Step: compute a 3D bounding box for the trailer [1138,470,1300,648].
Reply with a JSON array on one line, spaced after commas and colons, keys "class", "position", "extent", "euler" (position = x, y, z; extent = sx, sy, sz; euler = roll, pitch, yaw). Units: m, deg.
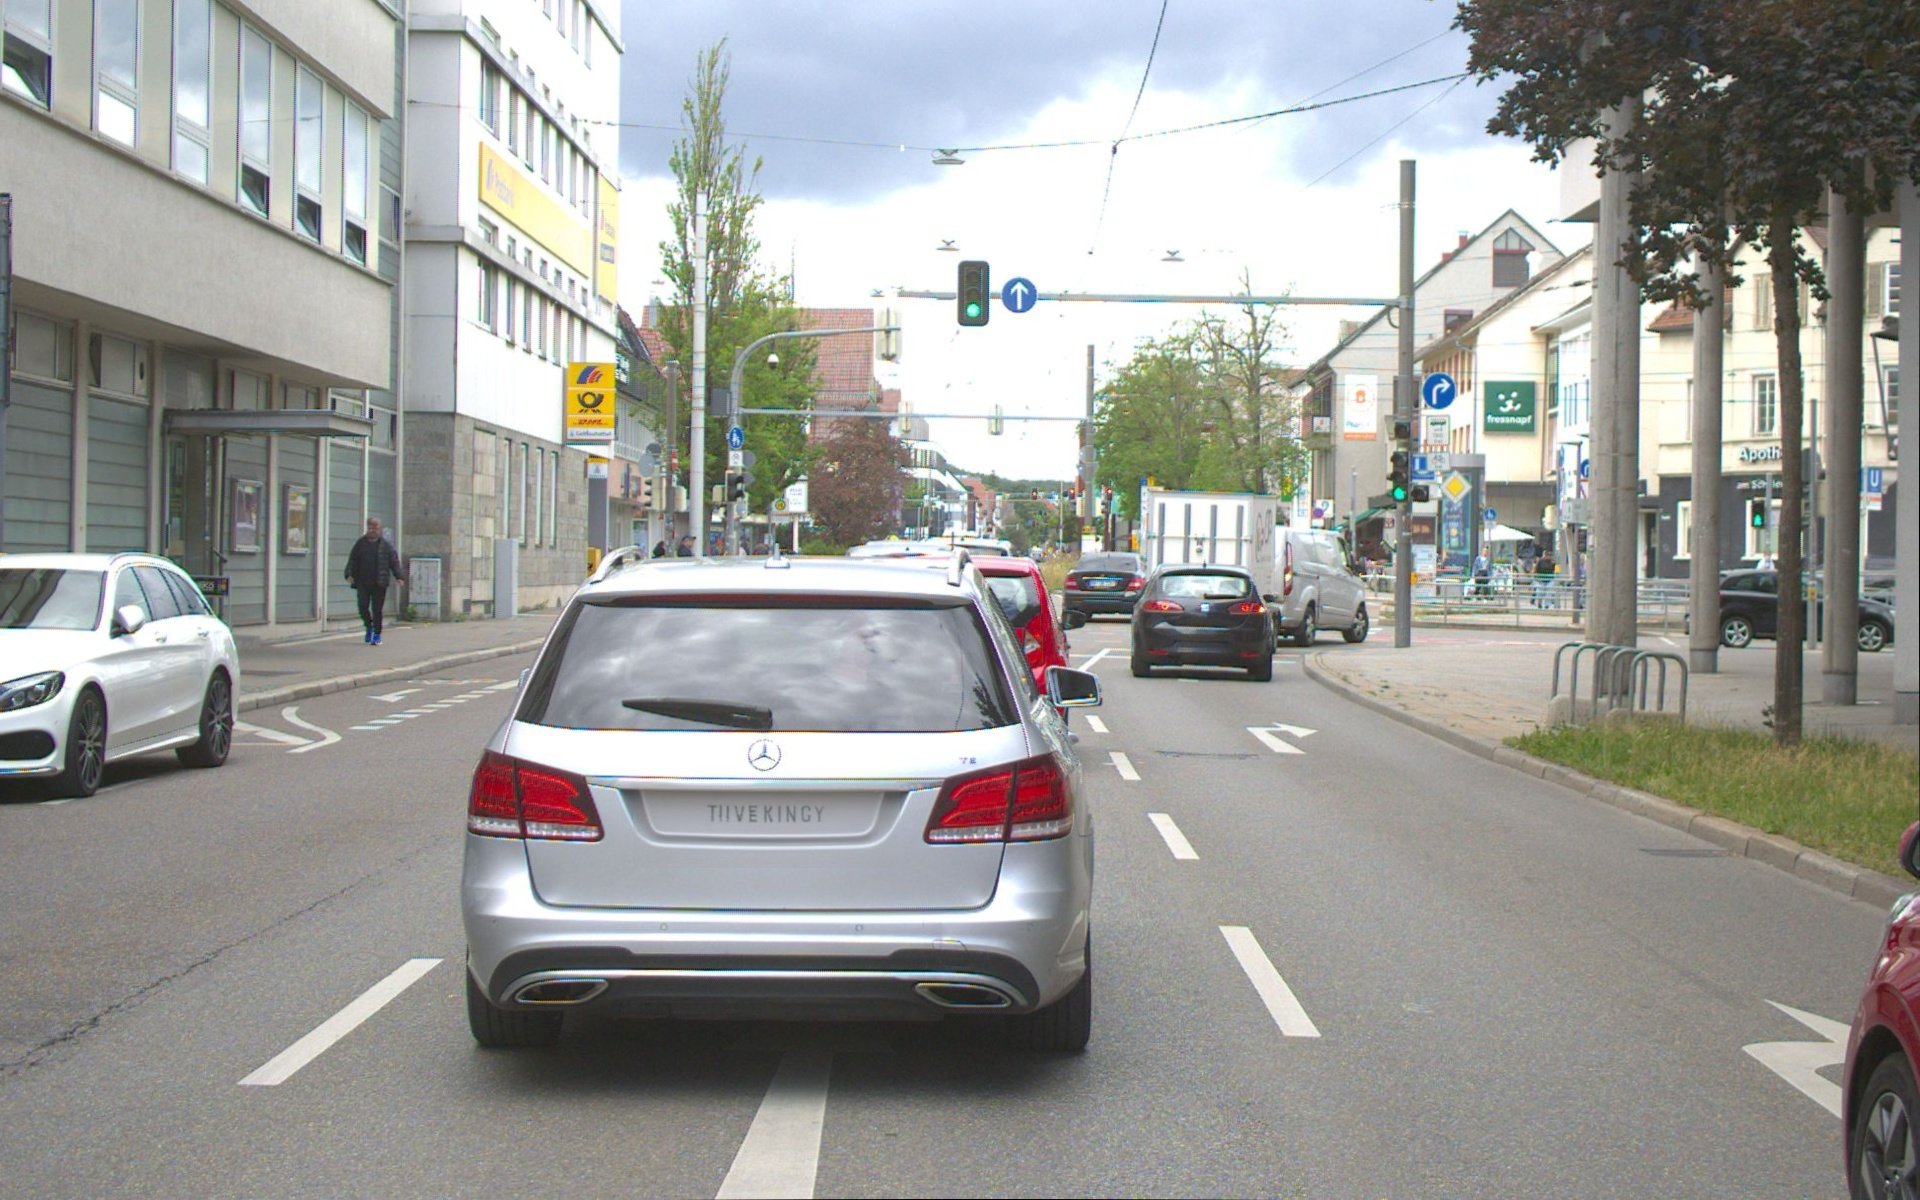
[{"class": "trailer", "position": [4.140, -0.642, 54.352], "extent": [1.879, 2.604, 4.321], "euler": [3, 1, 12]}]

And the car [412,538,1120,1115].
[{"class": "car", "position": [-0.554, 0.563, 11.131], "extent": [1.845, 1.503, 4.171], "euler": [1, 1, -1]}]

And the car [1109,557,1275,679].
[{"class": "car", "position": [2.891, 0.192, 43.561], "extent": [1.734, 1.406, 4.000], "euler": [1, 1, -1]}]

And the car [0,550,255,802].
[{"class": "car", "position": [-5.910, 0.411, 21.983], "extent": [1.670, 1.429, 4.552], "euler": [-1, 1, 3]}]

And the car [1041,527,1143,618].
[{"class": "car", "position": [2.648, -0.577, 69.747], "extent": [1.828, 1.779, 4.000], "euler": [1, 1, -1]}]

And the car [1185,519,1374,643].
[{"class": "car", "position": [5.522, -0.310, 58.834], "extent": [1.880, 1.939, 4.900], "euler": [4, 1, 21]}]

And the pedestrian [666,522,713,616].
[{"class": "pedestrian", "position": [-5.032, -0.585, 64.050], "extent": [0.648, 1.712, 0.782], "euler": [2, 1, 8]}]

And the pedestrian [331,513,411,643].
[{"class": "pedestrian", "position": [-7.996, -0.303, 46.728], "extent": [0.861, 1.712, 1.032], "euler": [2, 1, -1]}]

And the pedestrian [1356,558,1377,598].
[{"class": "pedestrian", "position": [14.964, -0.807, 126.566], "extent": [0.578, 1.464, 0.651], "euler": [2, 1, -6]}]

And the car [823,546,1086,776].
[{"class": "car", "position": [-0.014, 0.375, 24.927], "extent": [1.734, 1.503, 4.000], "euler": [1, 1, 1]}]

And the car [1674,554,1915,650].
[{"class": "car", "position": [15.052, 0.031, 62.106], "extent": [3.785, 1.664, 1.930], "euler": [1, 1, -6]}]

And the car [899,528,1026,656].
[{"class": "car", "position": [-0.001, -0.145, 49.523], "extent": [1.734, 1.753, 4.000], "euler": [1, 1, -1]}]

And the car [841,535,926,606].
[{"class": "car", "position": [-1.761, -0.710, 80.559], "extent": [1.776, 1.626, 4.768], "euler": [0, 1, 1]}]

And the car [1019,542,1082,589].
[{"class": "car", "position": [2.783, -1.080, 106.222], "extent": [1.734, 1.406, 4.000], "euler": [1, 1, -1]}]

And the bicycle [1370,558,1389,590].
[{"class": "bicycle", "position": [14.806, -0.921, 121.423], "extent": [0.448, 1.103, 2.149], "euler": [1, 1, 2]}]

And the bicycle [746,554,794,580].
[{"class": "bicycle", "position": [-7.931, -1.368, 143.346], "extent": [1.937, 1.025, 0.530], "euler": [2, 1, -8]}]

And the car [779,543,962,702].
[{"class": "car", "position": [-0.894, 0.182, 34.892], "extent": [1.734, 1.503, 4.000], "euler": [1, 1, -1]}]

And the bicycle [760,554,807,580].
[{"class": "bicycle", "position": [-7.564, -1.407, 147.286], "extent": [1.937, 1.025, 0.530], "euler": [2, 1, -8]}]

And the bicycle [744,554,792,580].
[{"class": "bicycle", "position": [-8.058, -1.381, 144.009], "extent": [1.937, 1.025, 0.530], "euler": [2, 1, -8]}]

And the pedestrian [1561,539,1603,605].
[{"class": "pedestrian", "position": [16.663, -0.747, 92.093], "extent": [0.786, 1.712, 0.650], "euler": [2, 2, -23]}]

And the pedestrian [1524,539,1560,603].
[{"class": "pedestrian", "position": [15.646, -0.776, 92.442], "extent": [0.702, 1.712, 0.649], "euler": [0, 1, -40]}]

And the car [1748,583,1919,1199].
[{"class": "car", "position": [2.624, 0.765, 5.561], "extent": [1.698, 1.447, 4.000], "euler": [3, 1, 0]}]
